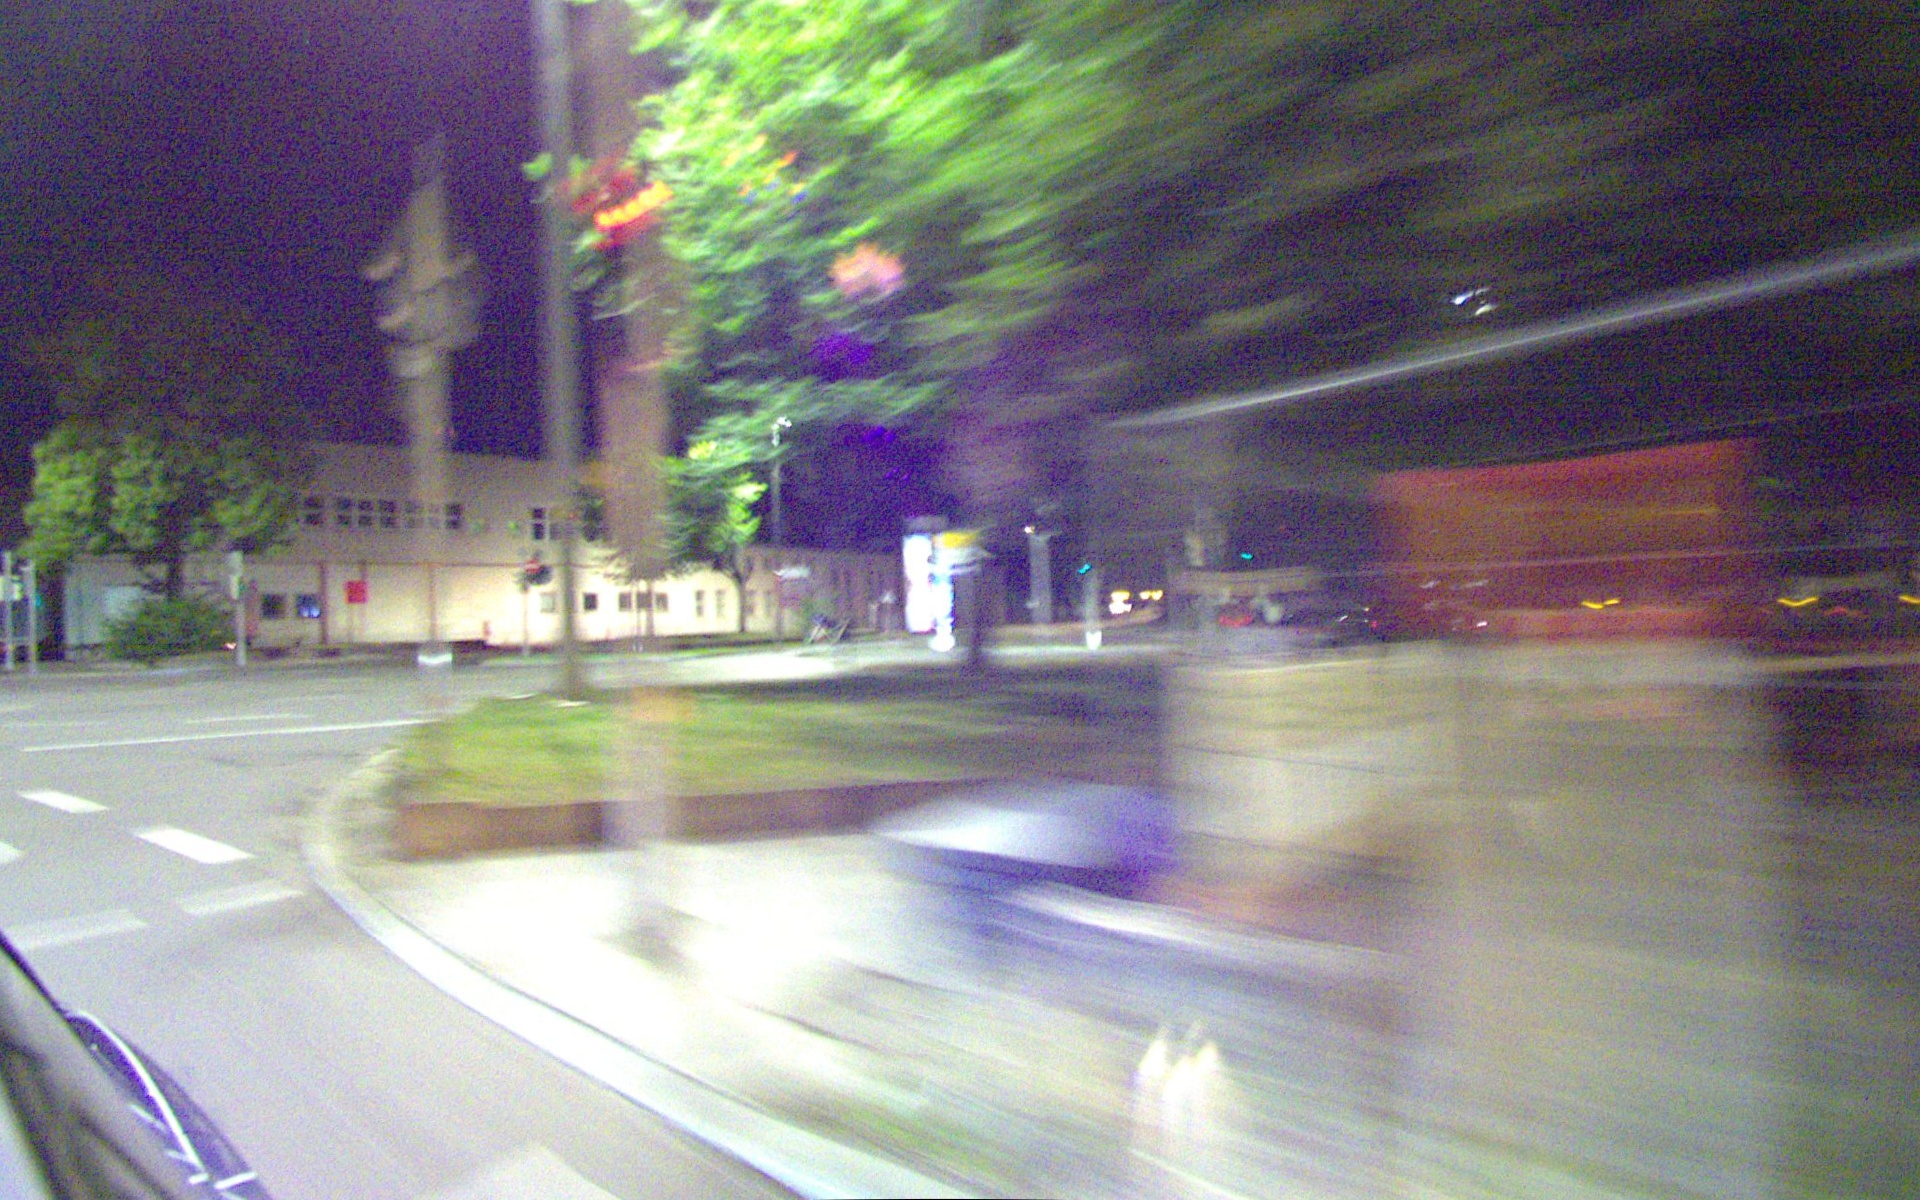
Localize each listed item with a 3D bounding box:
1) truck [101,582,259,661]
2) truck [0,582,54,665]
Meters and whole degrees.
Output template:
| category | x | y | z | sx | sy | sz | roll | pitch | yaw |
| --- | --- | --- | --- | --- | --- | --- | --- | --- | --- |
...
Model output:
| category | x | y | z | sx | sy | sz | roll | pitch | yaw |
| --- | --- | --- | --- | --- | --- | --- | --- | --- | --- |
| truck | -38.986 | 0.992 | 50.812 | 6.105 | 3.721 | 2.407 | -1 | -1 | -36 |
| truck | -46.652 | 1.124 | 45.017 | 9.202 | 3.750 | 2.005 | -1 | -1 | -33 |
